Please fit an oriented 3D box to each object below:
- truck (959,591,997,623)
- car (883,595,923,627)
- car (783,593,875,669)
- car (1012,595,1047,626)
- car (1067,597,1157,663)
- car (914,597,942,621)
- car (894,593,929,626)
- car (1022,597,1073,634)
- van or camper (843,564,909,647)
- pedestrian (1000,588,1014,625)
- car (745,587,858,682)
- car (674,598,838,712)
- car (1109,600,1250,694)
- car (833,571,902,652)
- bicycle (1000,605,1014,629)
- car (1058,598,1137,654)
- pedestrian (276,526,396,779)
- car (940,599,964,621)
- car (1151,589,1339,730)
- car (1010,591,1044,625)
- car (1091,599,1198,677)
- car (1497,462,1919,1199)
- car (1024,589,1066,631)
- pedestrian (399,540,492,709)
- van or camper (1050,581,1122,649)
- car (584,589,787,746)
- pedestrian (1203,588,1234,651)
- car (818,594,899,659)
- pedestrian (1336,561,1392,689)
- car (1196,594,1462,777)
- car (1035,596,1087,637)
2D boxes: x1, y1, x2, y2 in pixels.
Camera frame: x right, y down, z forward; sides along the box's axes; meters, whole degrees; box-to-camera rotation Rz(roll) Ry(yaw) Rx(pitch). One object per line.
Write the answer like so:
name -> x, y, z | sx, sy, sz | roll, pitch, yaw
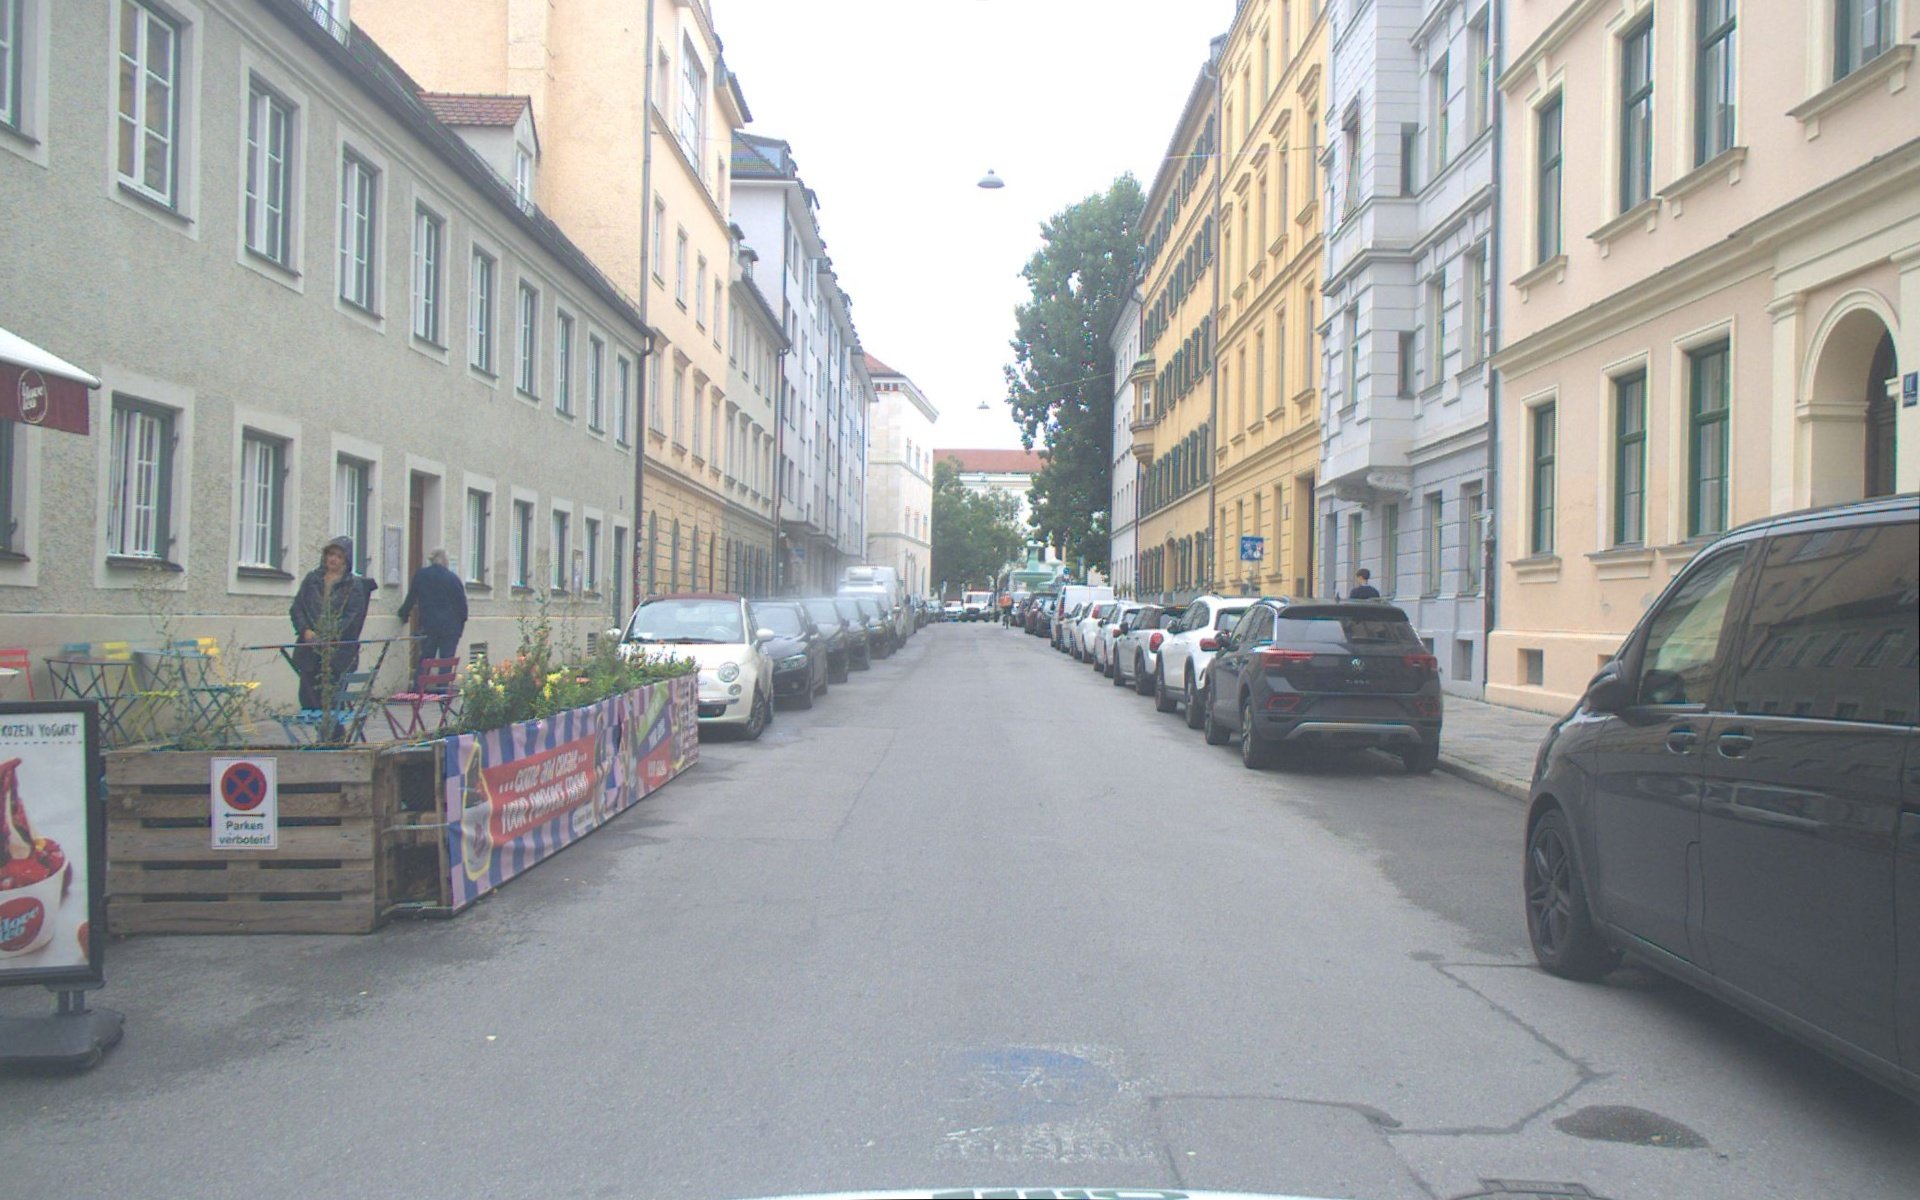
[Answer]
truck -> 1.389, 0.532, 123.357 | 2.076, 2.287, 6.190 | 1, -1, 8
car -> -2.665, 0.520, 78.370 | 1.780, 1.470, 3.818 | 0, 0, -1
car -> -2.658, 0.592, 34.267 | 1.780, 1.467, 4.129 | 0, 0, -3
car -> 3.810, 0.582, 90.853 | 1.774, 1.642, 4.156 | 1, 0, 1
car -> 3.642, 0.702, 40.234 | 1.673, 1.480, 4.095 | 1, 0, -2
car -> -2.153, 0.604, 111.567 | 1.671, 1.637, 3.864 | 0, 0, 3
car -> -2.439, 0.478, 83.632 | 1.672, 1.637, 3.862 | 0, 0, 0
car -> 3.674, 0.646, 69.937 | 1.775, 1.449, 4.245 | 2, 0, -1
van or camper -> -2.484, 0.170, 49.801 | 1.719, 2.321, 5.272 | 1, 0, -1
pedestrian -> 2.267, 0.304, 79.694 | 0.629, 1.744, 0.843 | 1, -1, 1
car -> -2.740, 0.571, 29.331 | 1.719, 1.522, 4.198 | 1, 0, -2
car -> -2.780, 0.704, 23.465 | 1.762, 1.362, 4.685 | 1, 1, -1
car -> 3.618, 0.740, 27.963 | 1.673, 1.429, 4.206 | 1, 0, -2
car -> -2.517, 0.303, 44.562 | 1.720, 2.030, 4.622 | 1, 0, -4
bicycle -> 2.266, 0.810, 79.589 | 0.661, 1.114, 1.760 | 1, -1, 1
car -> 3.680, 0.669, 44.890 | 1.673, 1.417, 4.205 | 1, 0, -2
pedestrian -> -4.649, 0.387, 12.367 | 0.517, 1.813, 0.877 | 1, -1, 0
car -> -0.596, 0.746, 126.144 | 1.671, 1.609, 3.864 | 0, 0, 3
car -> 3.597, 0.701, 21.608 | 1.707, 1.611, 4.467 | 1, 0, 1
car -> 3.905, 0.472, 96.729 | 1.813, 1.953, 4.769 | 1, 0, 1
car -> 3.680, 0.719, 33.730 | 1.673, 1.433, 4.815 | 1, 0, 1
car -> 3.417, 0.623, 5.040 | 1.956, 1.897, 5.254 | 2, 0, 2
car -> 3.946, 0.457, 77.455 | 1.774, 1.829, 4.247 | 2, 0, 1
pedestrian -> -6.030, 0.294, 19.426 | 0.806, 1.931, 0.827 | 1, -1, -1
van or camper -> 3.767, 0.433, 50.138 | 1.796, 1.904, 5.079 | 1, 0, 1
car -> -2.898, 0.662, 18.162 | 1.719, 1.501, 3.712 | 2, 0, -3
pedestrian -> 6.705, 0.507, 42.980 | 0.647, 1.599, 0.642 | -2, -1, 0
car -> -2.374, 0.611, 39.517 | 1.719, 1.433, 4.102 | 1, 0, -1
pedestrian -> 6.517, 0.400, 26.680 | 0.655, 2.015, 0.708 | -2, -1, 1
car -> 3.507, 0.749, 16.488 | 1.718, 1.547, 4.274 | 1, 0, 1
car -> 3.936, 0.623, 64.955 | 1.775, 1.490, 4.246 | 2, 0, 0
